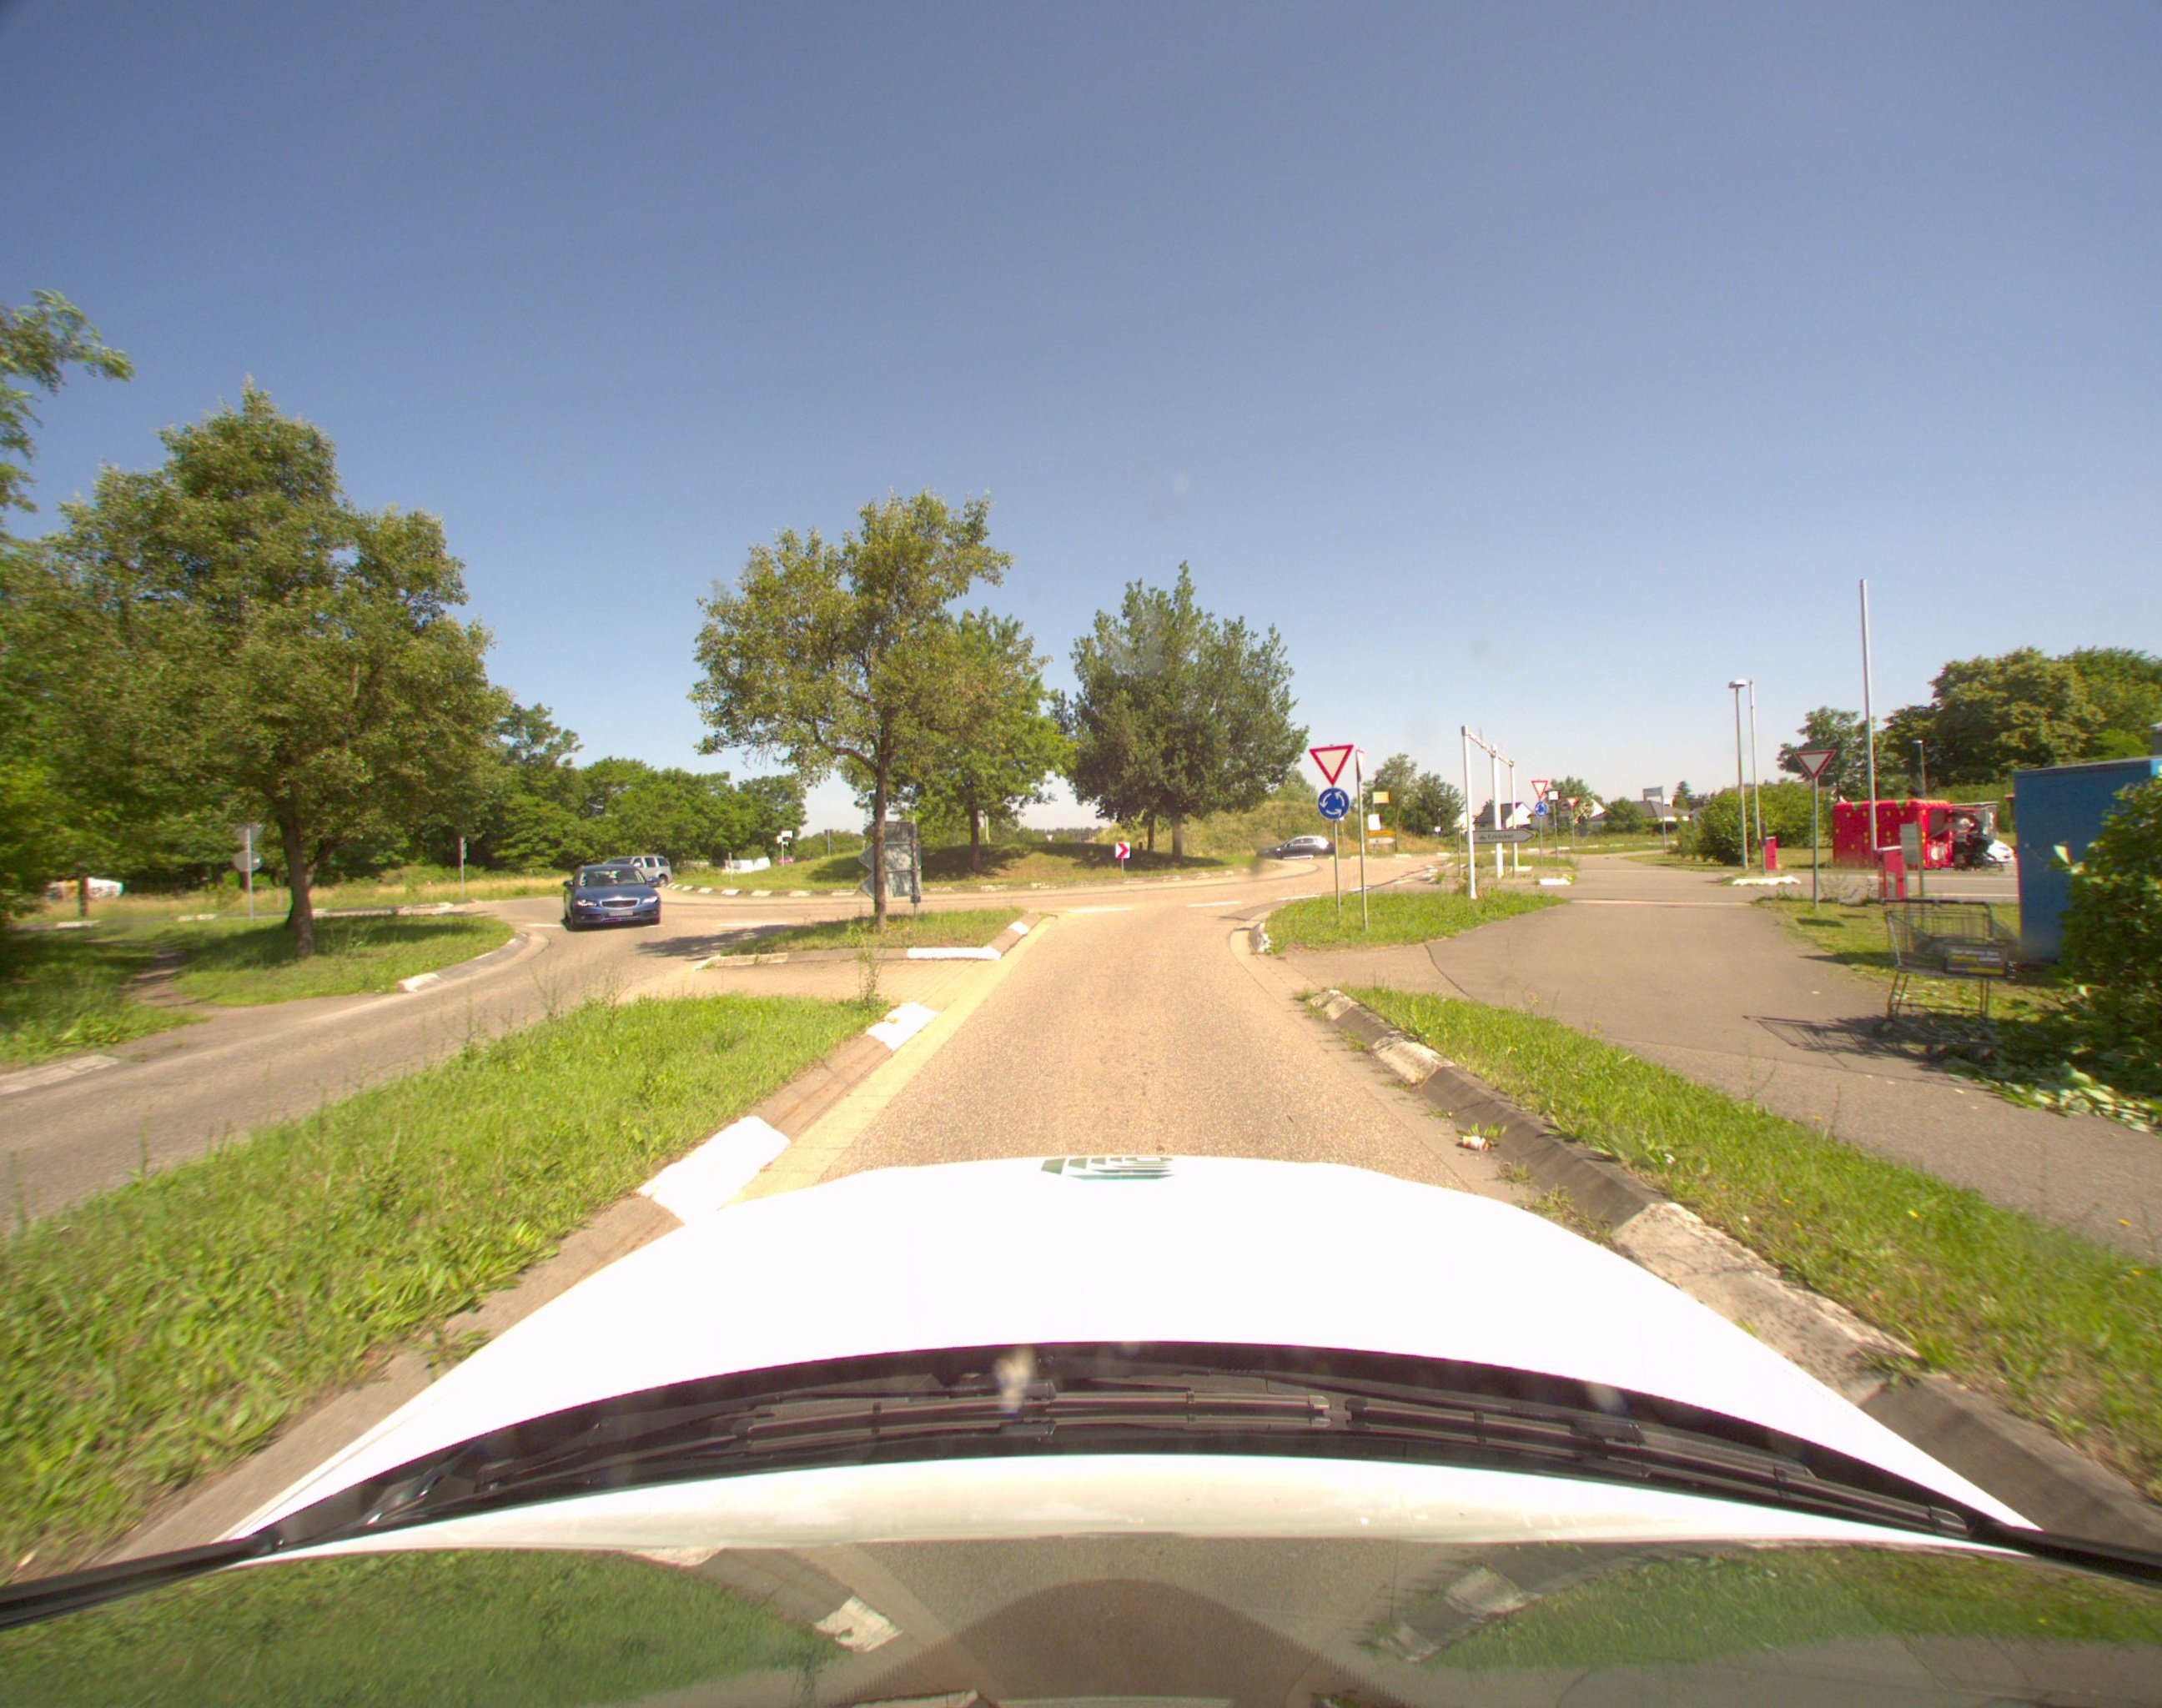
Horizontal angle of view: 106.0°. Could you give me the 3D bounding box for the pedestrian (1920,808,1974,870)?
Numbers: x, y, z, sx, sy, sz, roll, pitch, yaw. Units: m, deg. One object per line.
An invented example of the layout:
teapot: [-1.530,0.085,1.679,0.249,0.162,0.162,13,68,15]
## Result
pedestrian: [27.051,-0.465,25.461,0.833,1.871,0.776,-2,0,8]

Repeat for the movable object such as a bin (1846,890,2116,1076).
movable object such as a bin: [6.618,0.872,6.114,0.860,1.120,1.464,-1,0,26]

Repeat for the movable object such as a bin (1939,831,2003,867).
movable object such as a bin: [26.370,-0.153,24.140,0.766,1.046,1.037,-2,0,-10]

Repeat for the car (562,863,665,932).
car: [-11.485,0.971,19.875,1.846,1.387,4.377,-3,1,-34]

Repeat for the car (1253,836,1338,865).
car: [13.258,-0.215,50.523,4.745,1.592,1.999,-2,0,-1]

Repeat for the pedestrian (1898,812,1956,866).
pedestrian: [26.116,-0.463,25.163,0.811,1.619,0.924,-2,0,-8]

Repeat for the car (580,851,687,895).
car: [-20.961,0.844,38.423,1.882,1.815,4.609,-2,0,10]
